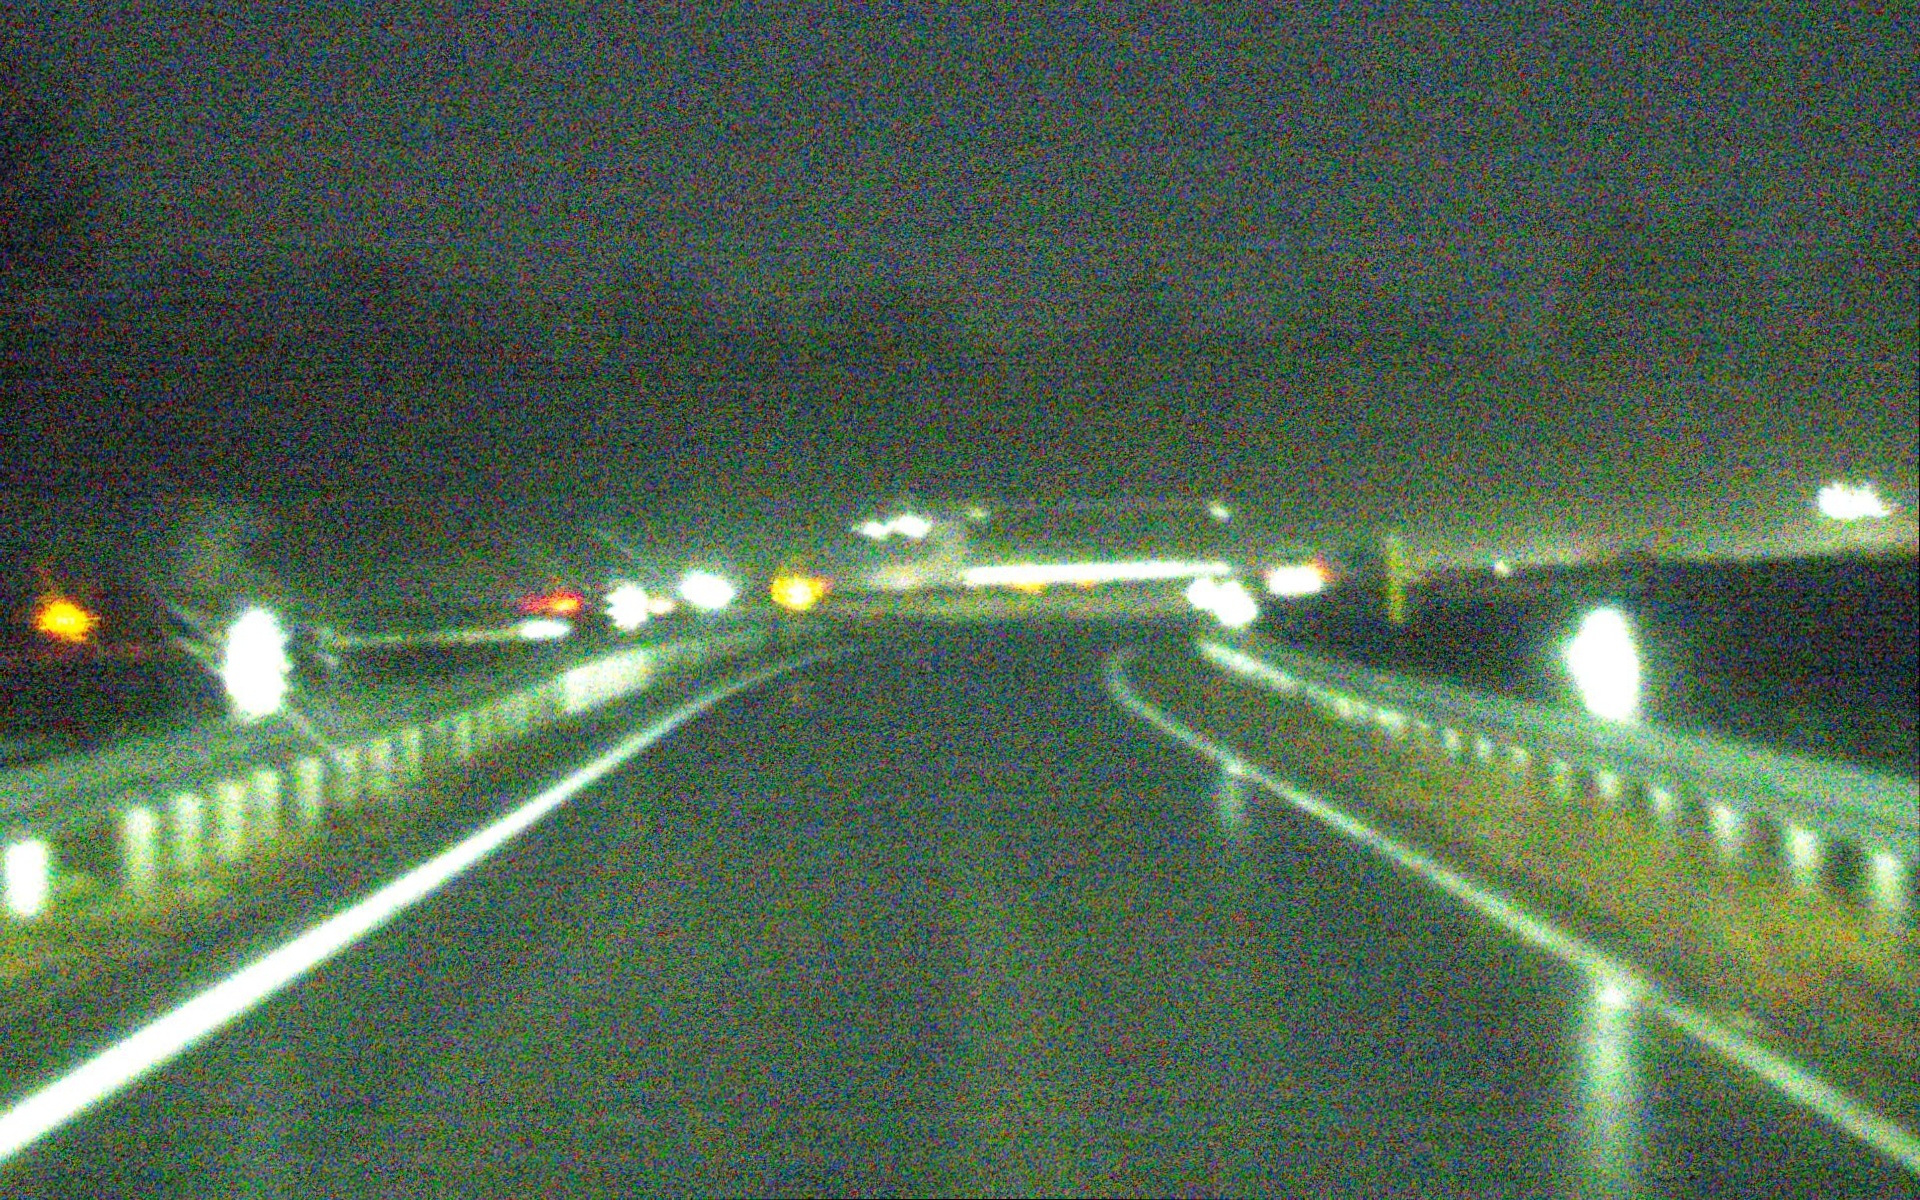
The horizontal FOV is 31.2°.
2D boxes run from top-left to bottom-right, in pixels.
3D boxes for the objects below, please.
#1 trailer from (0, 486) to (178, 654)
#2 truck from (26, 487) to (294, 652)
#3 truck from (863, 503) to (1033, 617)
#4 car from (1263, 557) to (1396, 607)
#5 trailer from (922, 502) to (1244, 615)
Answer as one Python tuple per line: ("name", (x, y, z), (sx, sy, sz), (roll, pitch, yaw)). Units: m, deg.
("trailer", (-23.896, -0.631, 75.143), (13.614, 3.712, 2.599), (-2, 2, -41))
("truck", (-18.542, -0.751, 79.787), (5.443, 3.698, 2.595), (-2, 2, -41))
("truck", (-0.415, -1.482, 124.116), (5.732, 4.015, 2.778), (-2, 2, -41))
("car", (11.679, -0.580, 108.537), (3.989, 1.514, 1.999), (-1, 2, -41))
("trailer", (4.780, -1.629, 128.708), (13.975, 4.015, 2.778), (-2, 2, -41))
